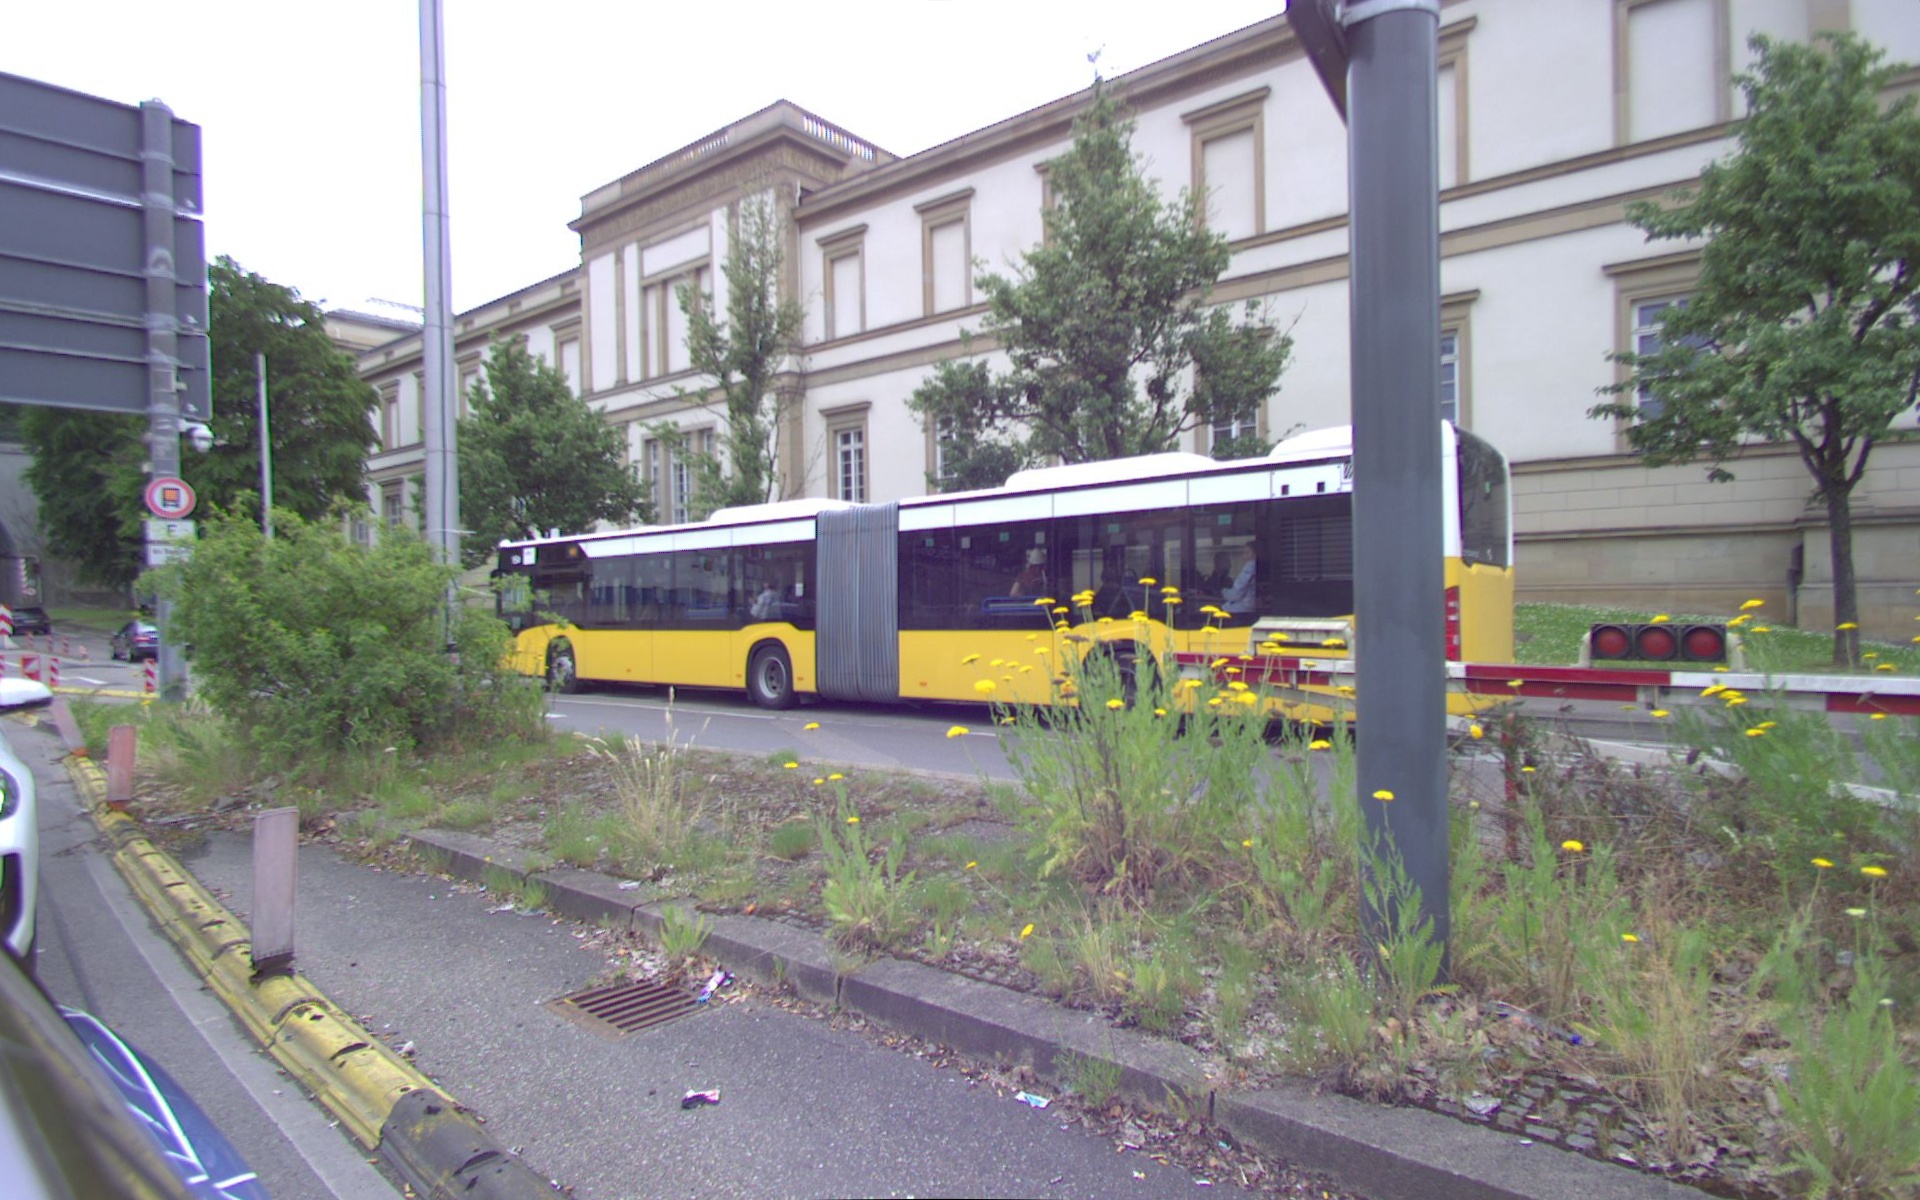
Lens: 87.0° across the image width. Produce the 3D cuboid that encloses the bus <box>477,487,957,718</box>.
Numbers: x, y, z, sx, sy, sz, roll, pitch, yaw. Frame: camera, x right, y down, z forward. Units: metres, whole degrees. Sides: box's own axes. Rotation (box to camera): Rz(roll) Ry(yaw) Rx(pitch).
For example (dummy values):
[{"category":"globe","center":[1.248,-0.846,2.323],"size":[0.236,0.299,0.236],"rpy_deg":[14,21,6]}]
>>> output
[{"category":"bus","center":[-4.754,0.105,17.897],"size":[9.736,3.137,2.818],"rpy_deg":[-1,0,39]}]

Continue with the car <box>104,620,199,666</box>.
[{"category":"car","center":[-28.605,1.485,35.762],"size":[4.626,1.482,1.684],"rpy_deg":[-1,0,40]}]

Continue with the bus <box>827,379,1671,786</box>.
[{"category":"bus","center":[2.594,-0.074,11.837],"size":[9.115,3.137,2.817],"rpy_deg":[-1,0,40]}]

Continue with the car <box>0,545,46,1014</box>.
[{"category":"car","center":[-5.254,0.667,4.171],"size":[3.881,1.603,1.824],"rpy_deg":[-2,0,42]}]

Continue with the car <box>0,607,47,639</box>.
[{"category":"car","center":[-49.713,1.212,53.432],"size":[3.879,1.601,1.680],"rpy_deg":[-1,0,40]}]
